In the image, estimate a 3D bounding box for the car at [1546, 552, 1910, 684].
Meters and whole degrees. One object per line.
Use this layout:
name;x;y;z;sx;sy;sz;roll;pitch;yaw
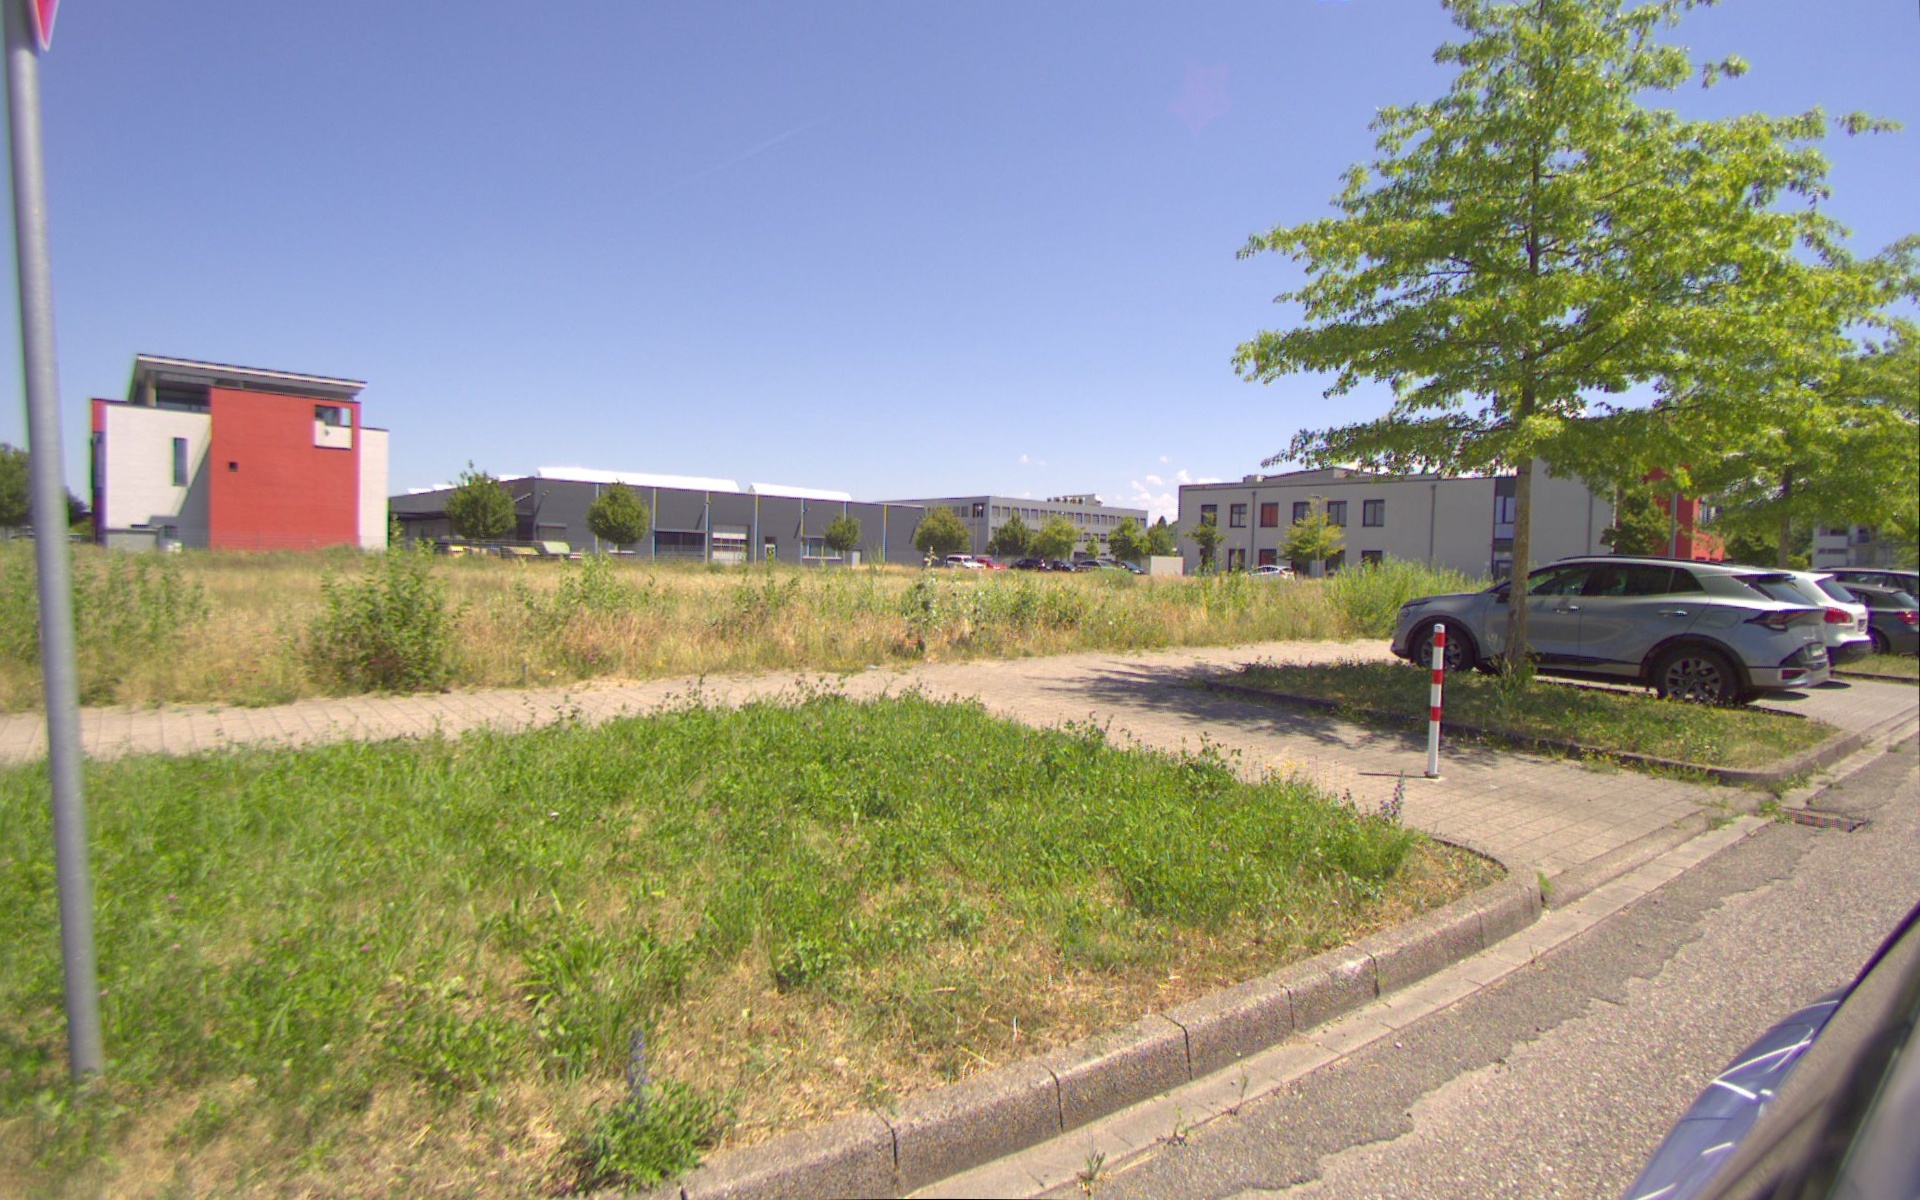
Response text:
car;11.578;0.150;15.498;1.867;1.627;4.079;-1;4;-39

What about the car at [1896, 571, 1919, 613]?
car;38.504;-0.173;38.033;1.881;1.579;4.724;0;5;-43

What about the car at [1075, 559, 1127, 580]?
car;11.361;-2.497;81.618;1.689;1.528;3.996;0;3;-41

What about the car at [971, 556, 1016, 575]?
car;2.851;-3.023;87.640;1.688;1.528;3.997;0;3;-39

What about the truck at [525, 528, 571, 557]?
truck;-30.424;-4.253;74.691;1.965;2.038;3.996;0;3;-40

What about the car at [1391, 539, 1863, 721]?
car;7.693;0.192;12.067;1.818;1.664;4.291;0;4;-39

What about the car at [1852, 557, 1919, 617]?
car;31.861;-0.345;32.566;1.763;1.851;4.416;0;4;-38

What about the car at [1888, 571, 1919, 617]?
car;33.880;-0.110;34.045;1.646;1.521;3.642;0;4;-39

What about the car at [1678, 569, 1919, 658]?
car;16.575;0.190;19.645;1.876;1.426;3.933;-2;5;-40

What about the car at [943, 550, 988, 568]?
car;0.454;-3.511;86.509;1.688;1.470;3.997;0;3;-39

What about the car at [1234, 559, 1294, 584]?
car;19.866;-1.869;66.143;1.688;1.528;3.331;0;3;-39

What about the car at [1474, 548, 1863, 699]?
car;9.563;0.185;13.925;1.806;1.664;3.997;0;4;-40

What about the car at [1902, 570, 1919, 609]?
car;42.021;-0.322;41.951;1.663;1.644;4.059;0;4;-39

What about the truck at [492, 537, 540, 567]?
truck;-31.903;-3.434;72.669;1.965;2.038;4.352;0;3;-40

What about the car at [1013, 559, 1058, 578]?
car;6.782;-2.850;91.134;1.688;1.528;3.997;0;3;-39

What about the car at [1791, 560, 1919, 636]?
car;23.307;-0.028;24.840;1.751;1.716;4.184;0;4;-40

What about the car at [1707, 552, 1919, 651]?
car;18.622;0.001;21.160;1.958;1.789;4.458;0;4;-41

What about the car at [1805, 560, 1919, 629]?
car;25.220;-0.121;26.901;1.750;1.698;3.886;0;4;-39
